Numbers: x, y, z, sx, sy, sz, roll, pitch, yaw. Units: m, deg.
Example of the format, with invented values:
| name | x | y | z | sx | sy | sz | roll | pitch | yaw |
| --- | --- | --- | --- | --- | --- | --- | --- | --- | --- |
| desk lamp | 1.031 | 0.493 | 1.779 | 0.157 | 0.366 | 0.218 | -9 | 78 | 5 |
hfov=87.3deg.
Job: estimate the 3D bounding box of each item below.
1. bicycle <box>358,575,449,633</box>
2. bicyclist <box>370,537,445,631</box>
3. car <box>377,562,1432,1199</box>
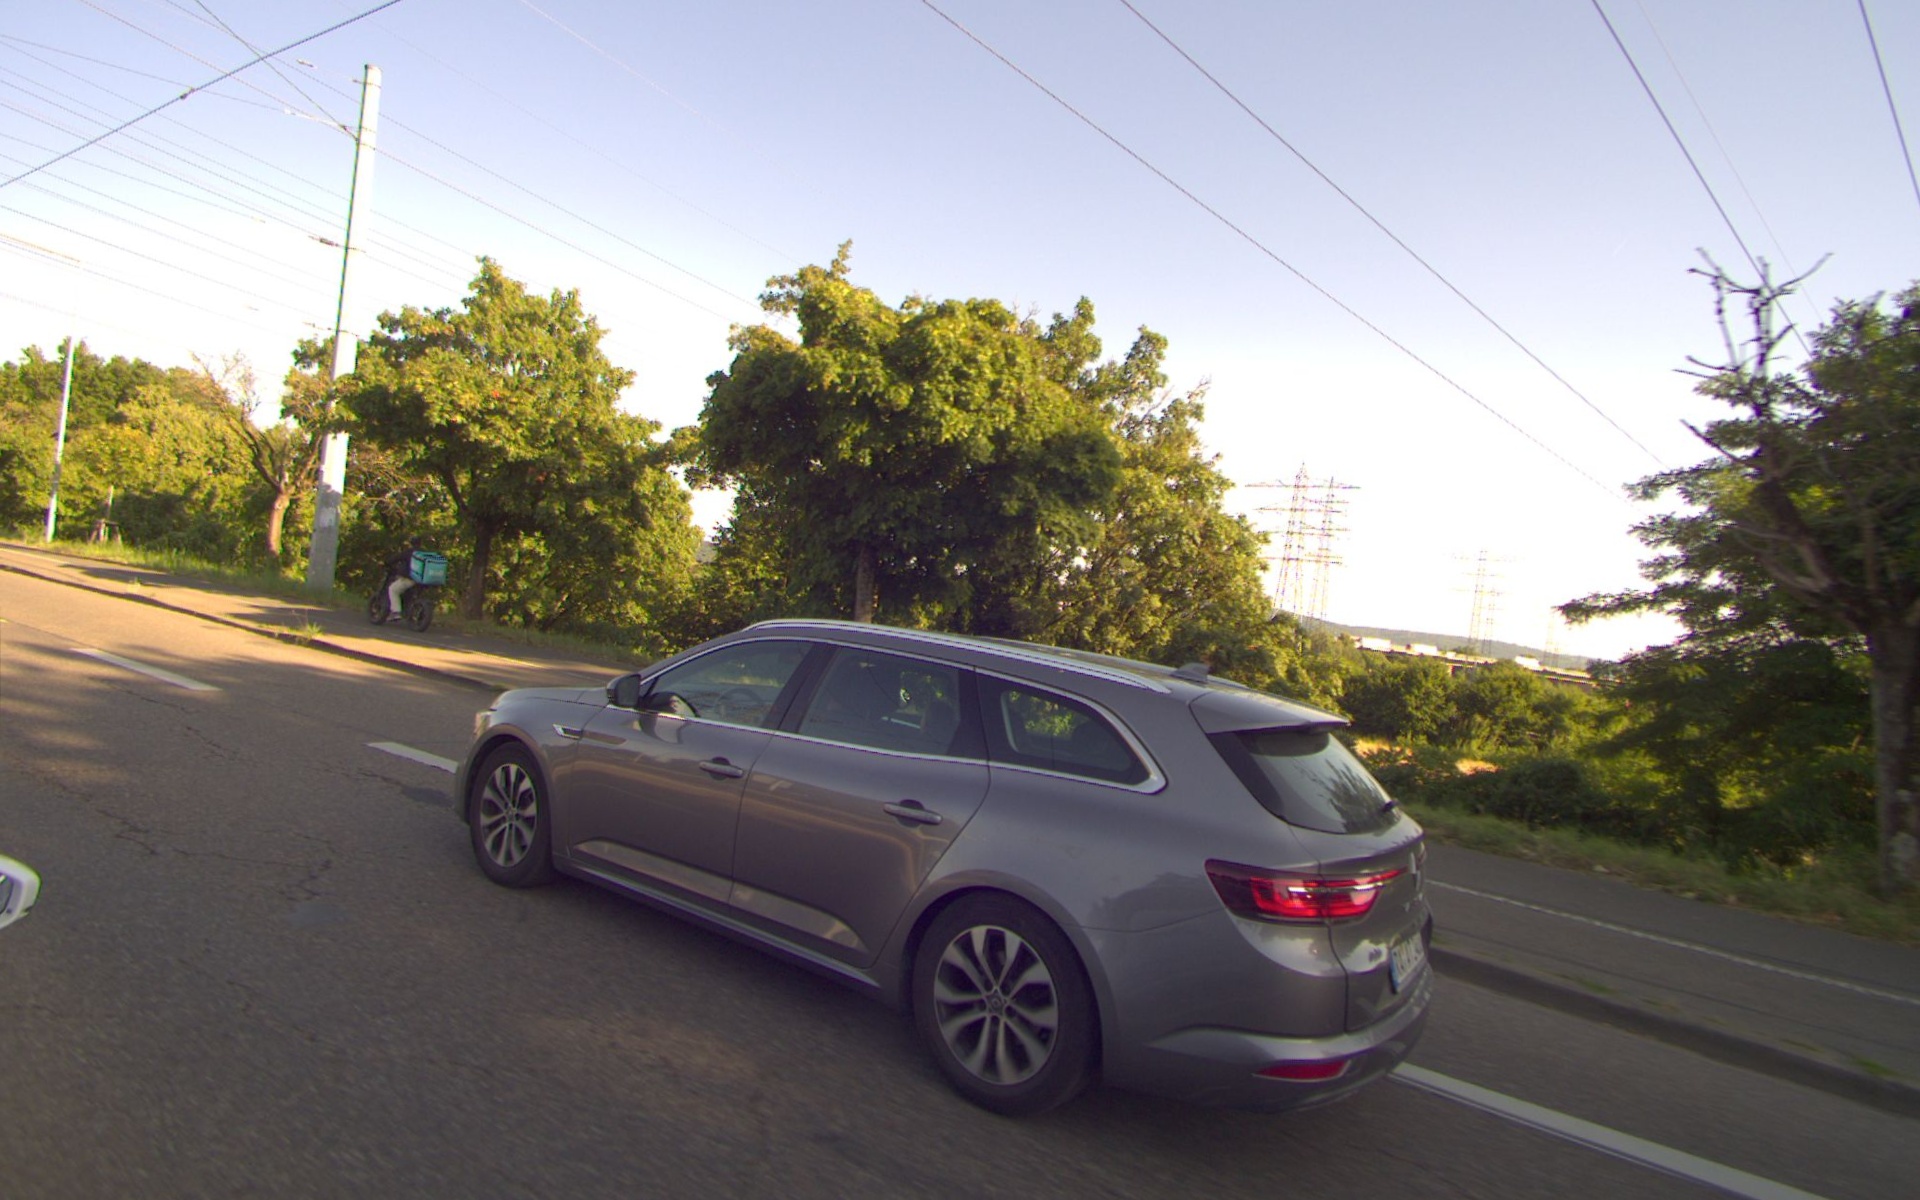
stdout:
| name | x | y | z | sx | sy | sz | roll | pitch | yaw |
| --- | --- | --- | --- | --- | --- | --- | --- | --- | --- |
| bicycle | -9.518 | 0.069 | 17.183 | 1.608 | 0.845 | 0.627 | 6 | 2 | 32 |
| bicyclist | -9.390 | -0.268 | 17.109 | 1.043 | 1.491 | 0.627 | 6 | 3 | 32 |
| car | -0.513 | 0.806 | 4.682 | 4.585 | 1.460 | 1.879 | 6 | -2 | 34 |
